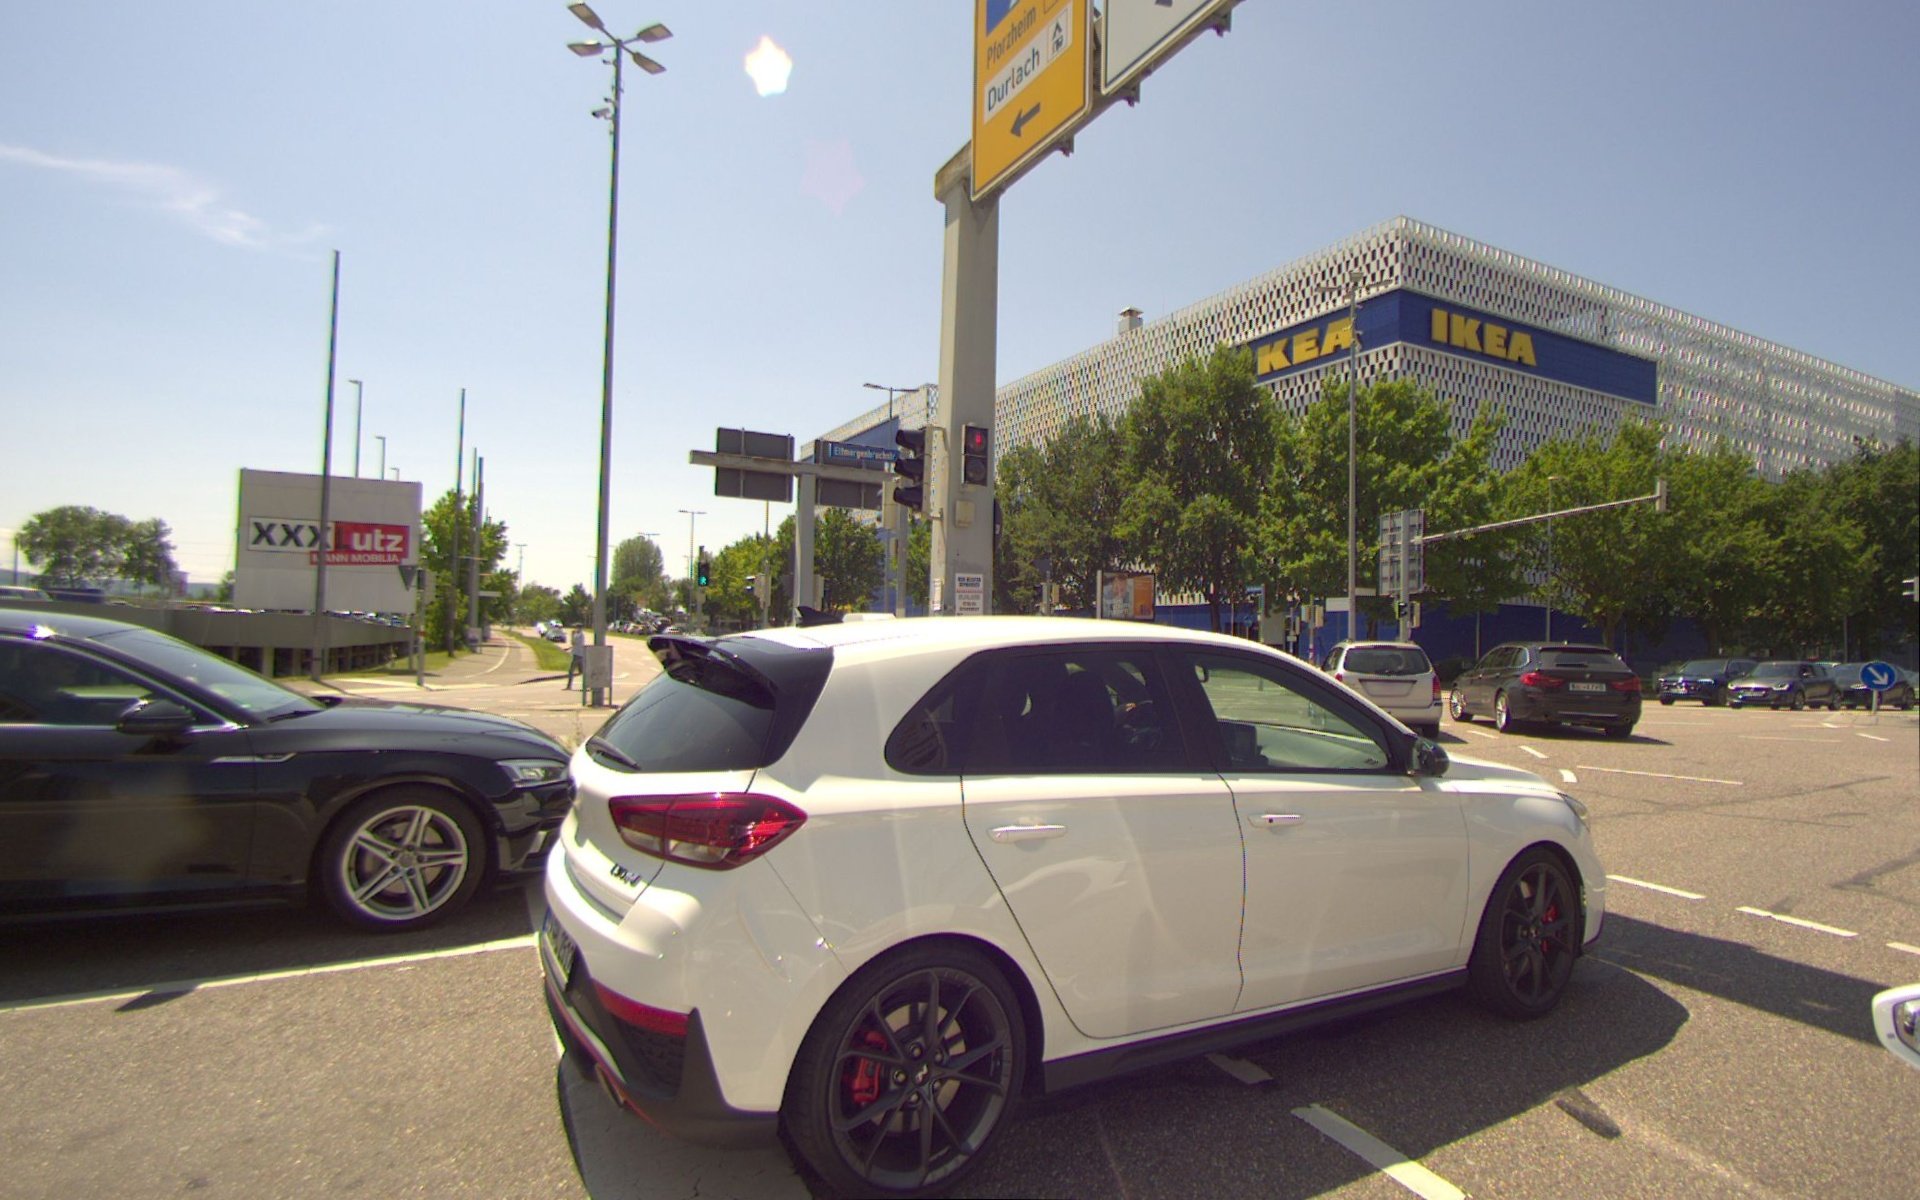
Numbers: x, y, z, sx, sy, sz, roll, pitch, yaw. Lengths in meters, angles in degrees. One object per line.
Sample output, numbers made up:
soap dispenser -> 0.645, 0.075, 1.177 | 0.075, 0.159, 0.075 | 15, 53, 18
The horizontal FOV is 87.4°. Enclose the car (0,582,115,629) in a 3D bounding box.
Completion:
car -> -43.900, 0.298, 48.585 | 4.283, 2.040, 1.982 | 3, -3, -33

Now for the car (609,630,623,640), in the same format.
car -> -55.108, 5.609, 160.948 | 1.608, 1.629, 3.473 | 2, -3, -28

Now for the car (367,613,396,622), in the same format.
car -> -95.965, 2.905, 166.542 | 3.973, 1.441, 1.680 | 3, -3, -37

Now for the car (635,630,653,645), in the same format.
car -> -42.110, 4.980, 133.748 | 1.749, 2.040, 3.815 | 2, -2, -25

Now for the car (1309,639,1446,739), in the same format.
car -> 6.734, 1.373, 16.558 | 1.664, 1.441, 4.011 | -1, -3, 17

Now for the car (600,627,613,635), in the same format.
car -> -59.779, 5.282, 170.036 | 1.607, 1.368, 3.474 | 2, -3, -27

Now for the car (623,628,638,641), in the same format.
car -> -48.858, 5.117, 148.882 | 1.607, 1.937, 3.475 | 2, -3, -26

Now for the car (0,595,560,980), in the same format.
car -> -4.179, 0.709, 4.335 | 4.411, 1.423, 1.665 | 1, -2, -28

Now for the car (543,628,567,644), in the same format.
car -> -40.243, 3.551, 99.739 | 1.835, 1.528, 3.973 | 2, -3, -27

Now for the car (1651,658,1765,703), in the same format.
car -> 25.571, 2.756, 34.305 | 3.990, 1.442, 1.653 | 3, -4, -29

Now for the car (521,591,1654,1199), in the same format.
car -> 0.603, 0.783, 3.840 | 4.021, 1.455, 1.780 | 2, -1, -29

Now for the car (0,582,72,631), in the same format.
car -> -41.499, 0.268, 43.443 | 4.283, 2.040, 1.983 | 3, -3, -32

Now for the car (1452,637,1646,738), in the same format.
car -> 9.908, 1.398, 17.309 | 1.767, 1.459, 4.559 | 1, -2, 16

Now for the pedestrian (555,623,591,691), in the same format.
pedestrian -> -10.411, 1.534, 27.038 | 0.814, 1.807, 0.602 | 2, -2, -20

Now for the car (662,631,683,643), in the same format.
car -> -39.062, 5.065, 136.373 | 1.974, 1.572, 3.974 | 2, -2, -26

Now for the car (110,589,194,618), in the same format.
car -> -54.392, 0.244, 67.732 | 4.084, 1.764, 1.771 | 3, -3, -28

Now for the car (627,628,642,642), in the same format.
car -> -46.342, 4.997, 142.911 | 1.606, 1.835, 3.476 | 2, -3, -25

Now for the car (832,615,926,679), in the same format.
car -> -3.107, 1.713, 37.415 | 1.972, 2.212, 5.021 | 2, -2, -23

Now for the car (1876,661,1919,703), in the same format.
car -> 35.837, 3.024, 36.840 | 4.658, 1.464, 1.721 | 3, -5, -26

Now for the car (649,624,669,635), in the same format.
car -> -42.966, 4.235, 143.499 | 1.975, 1.572, 3.972 | 2, -2, -27

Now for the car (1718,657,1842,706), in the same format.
car -> 24.884, 2.490, 30.475 | 3.670, 1.407, 1.638 | 3, -5, -28

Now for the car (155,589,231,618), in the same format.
car -> -59.348, 0.282, 77.813 | 4.276, 2.040, 1.986 | 2, -2, -28

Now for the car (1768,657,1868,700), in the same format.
car -> 33.428, 3.077, 39.112 | 3.868, 1.564, 1.719 | 3, -4, -29

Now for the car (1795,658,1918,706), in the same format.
car -> 29.970, 2.744, 33.570 | 4.191, 1.524, 1.720 | 3, -5, -28

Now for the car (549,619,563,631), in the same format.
car -> -72.208, 4.493, 179.482 | 1.793, 2.040, 3.973 | 2, -2, -27
